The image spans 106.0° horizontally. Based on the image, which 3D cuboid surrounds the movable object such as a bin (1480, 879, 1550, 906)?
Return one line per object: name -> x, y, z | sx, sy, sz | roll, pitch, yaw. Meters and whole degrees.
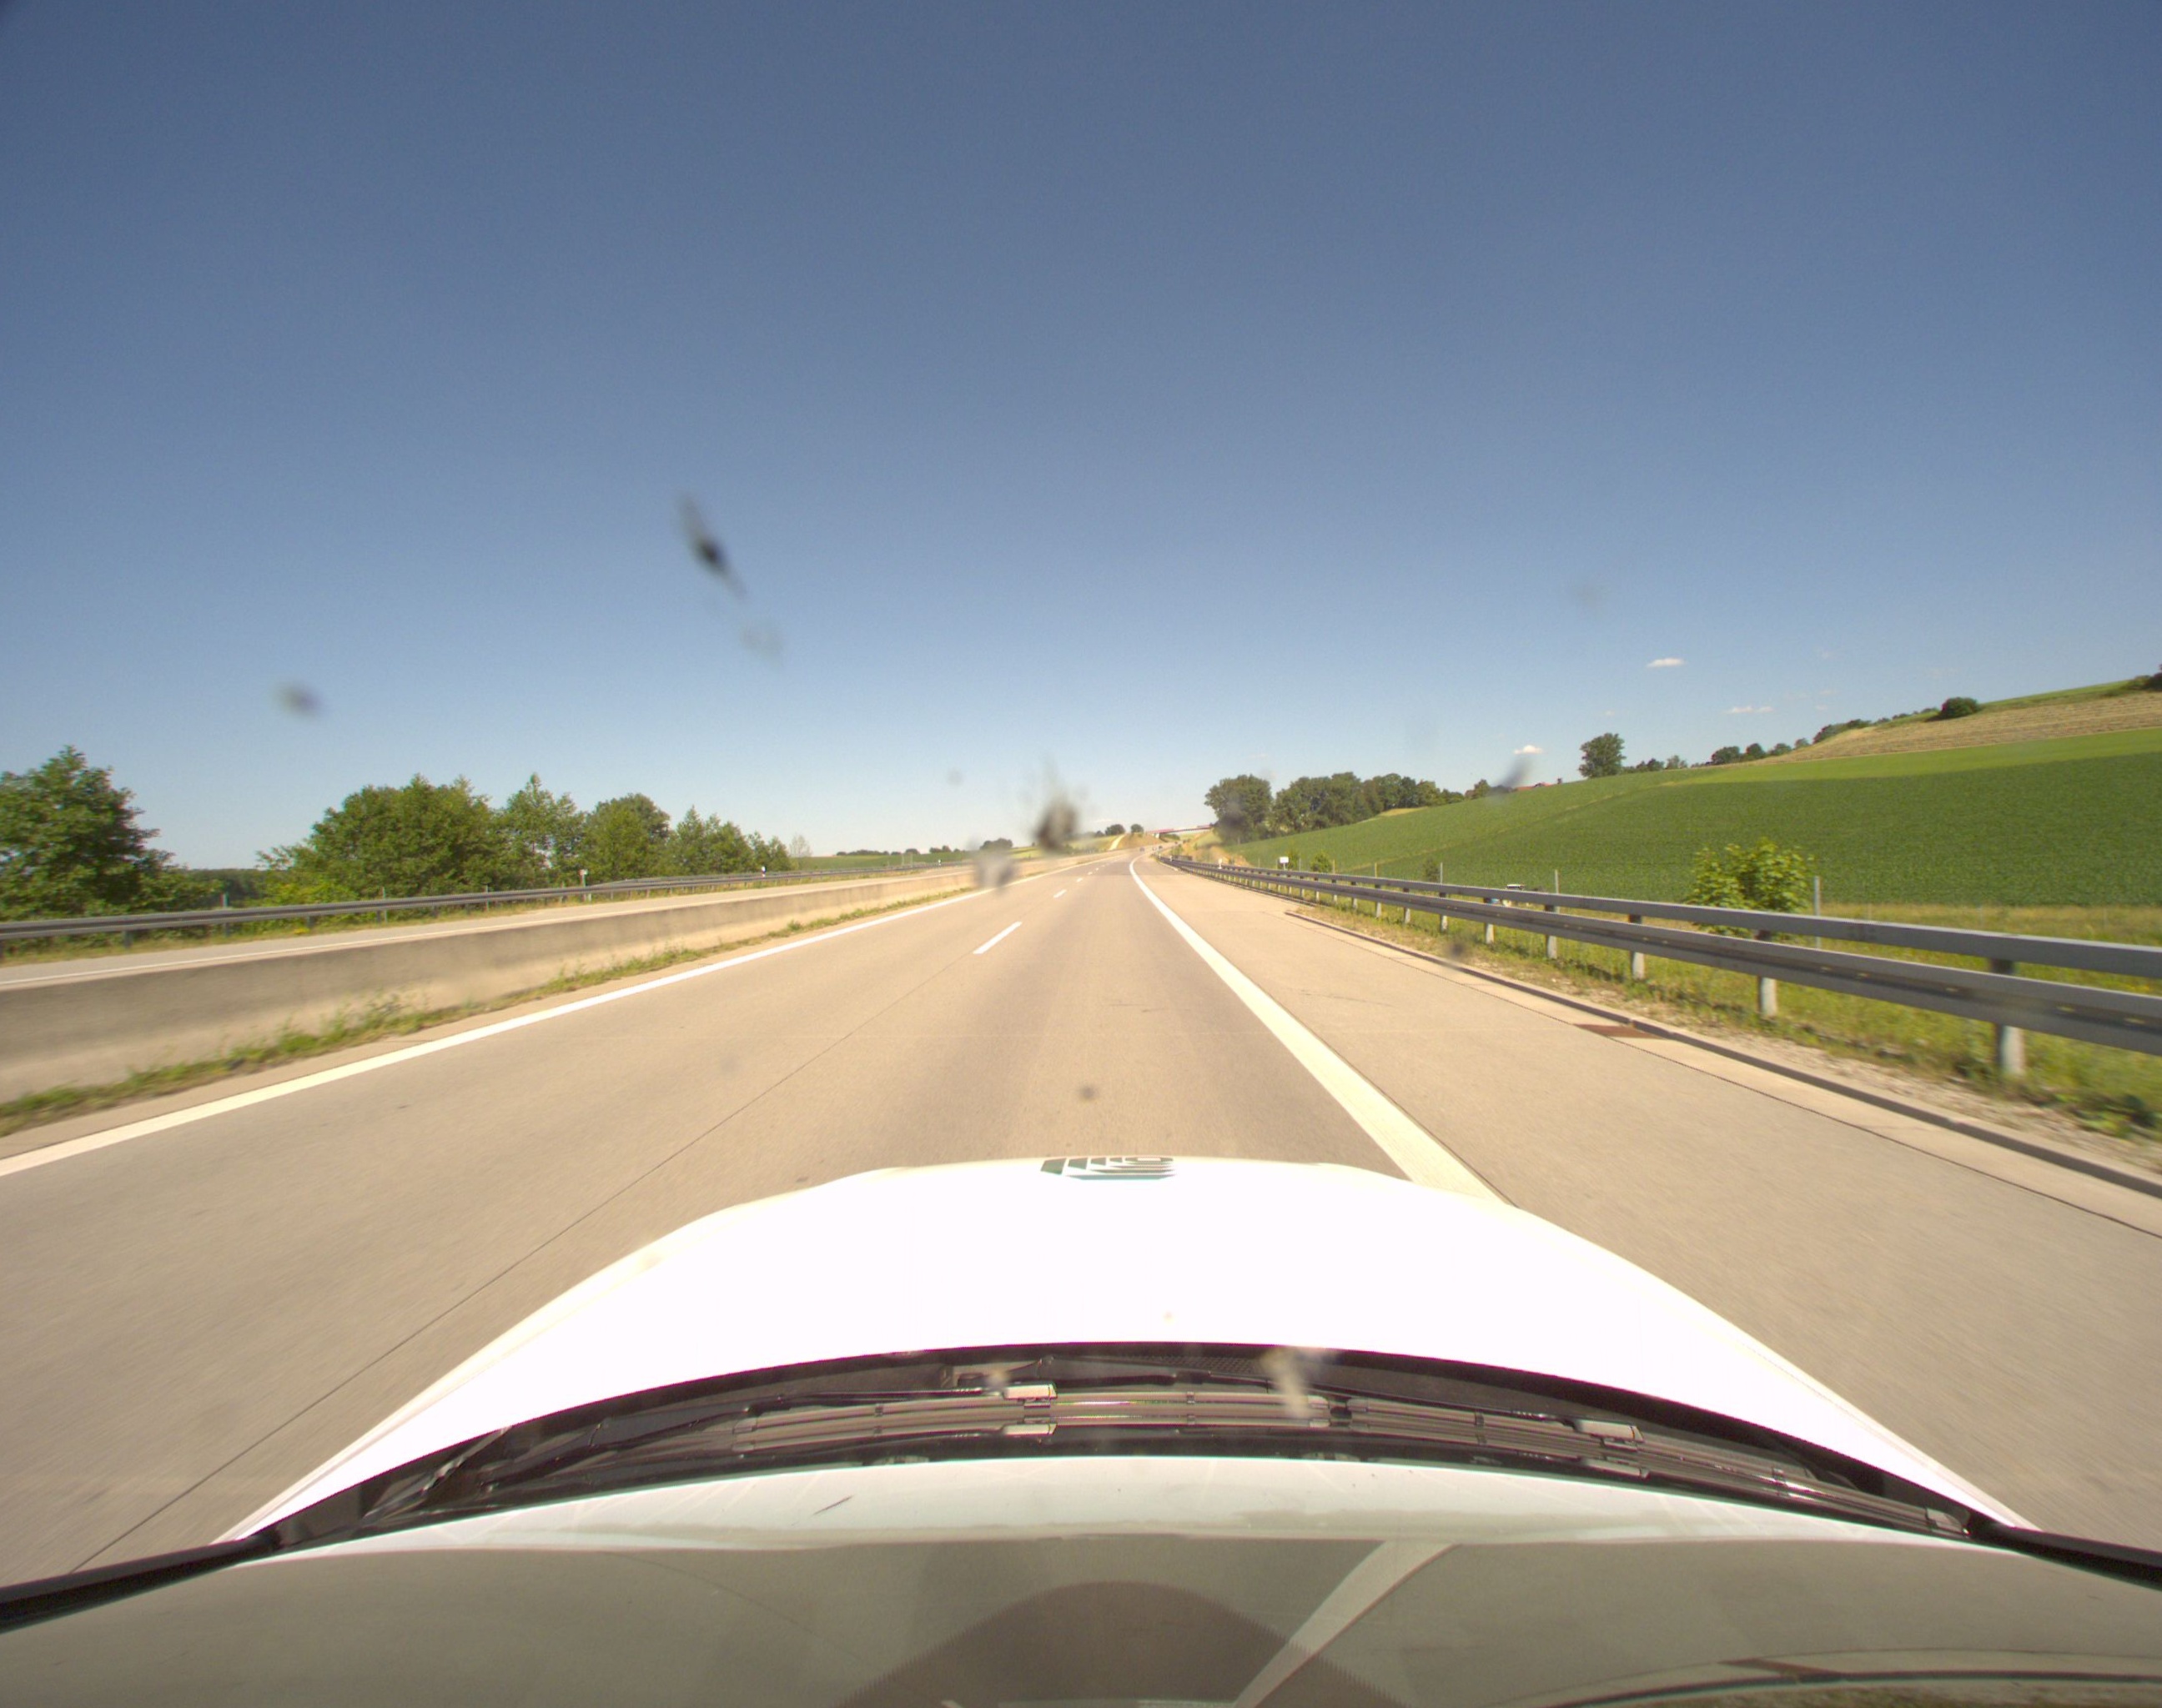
movable object such as a bin -> 47.800, 4.170, 89.833 | 6.153, 2.771, 3.306 | -2, -2, 43
